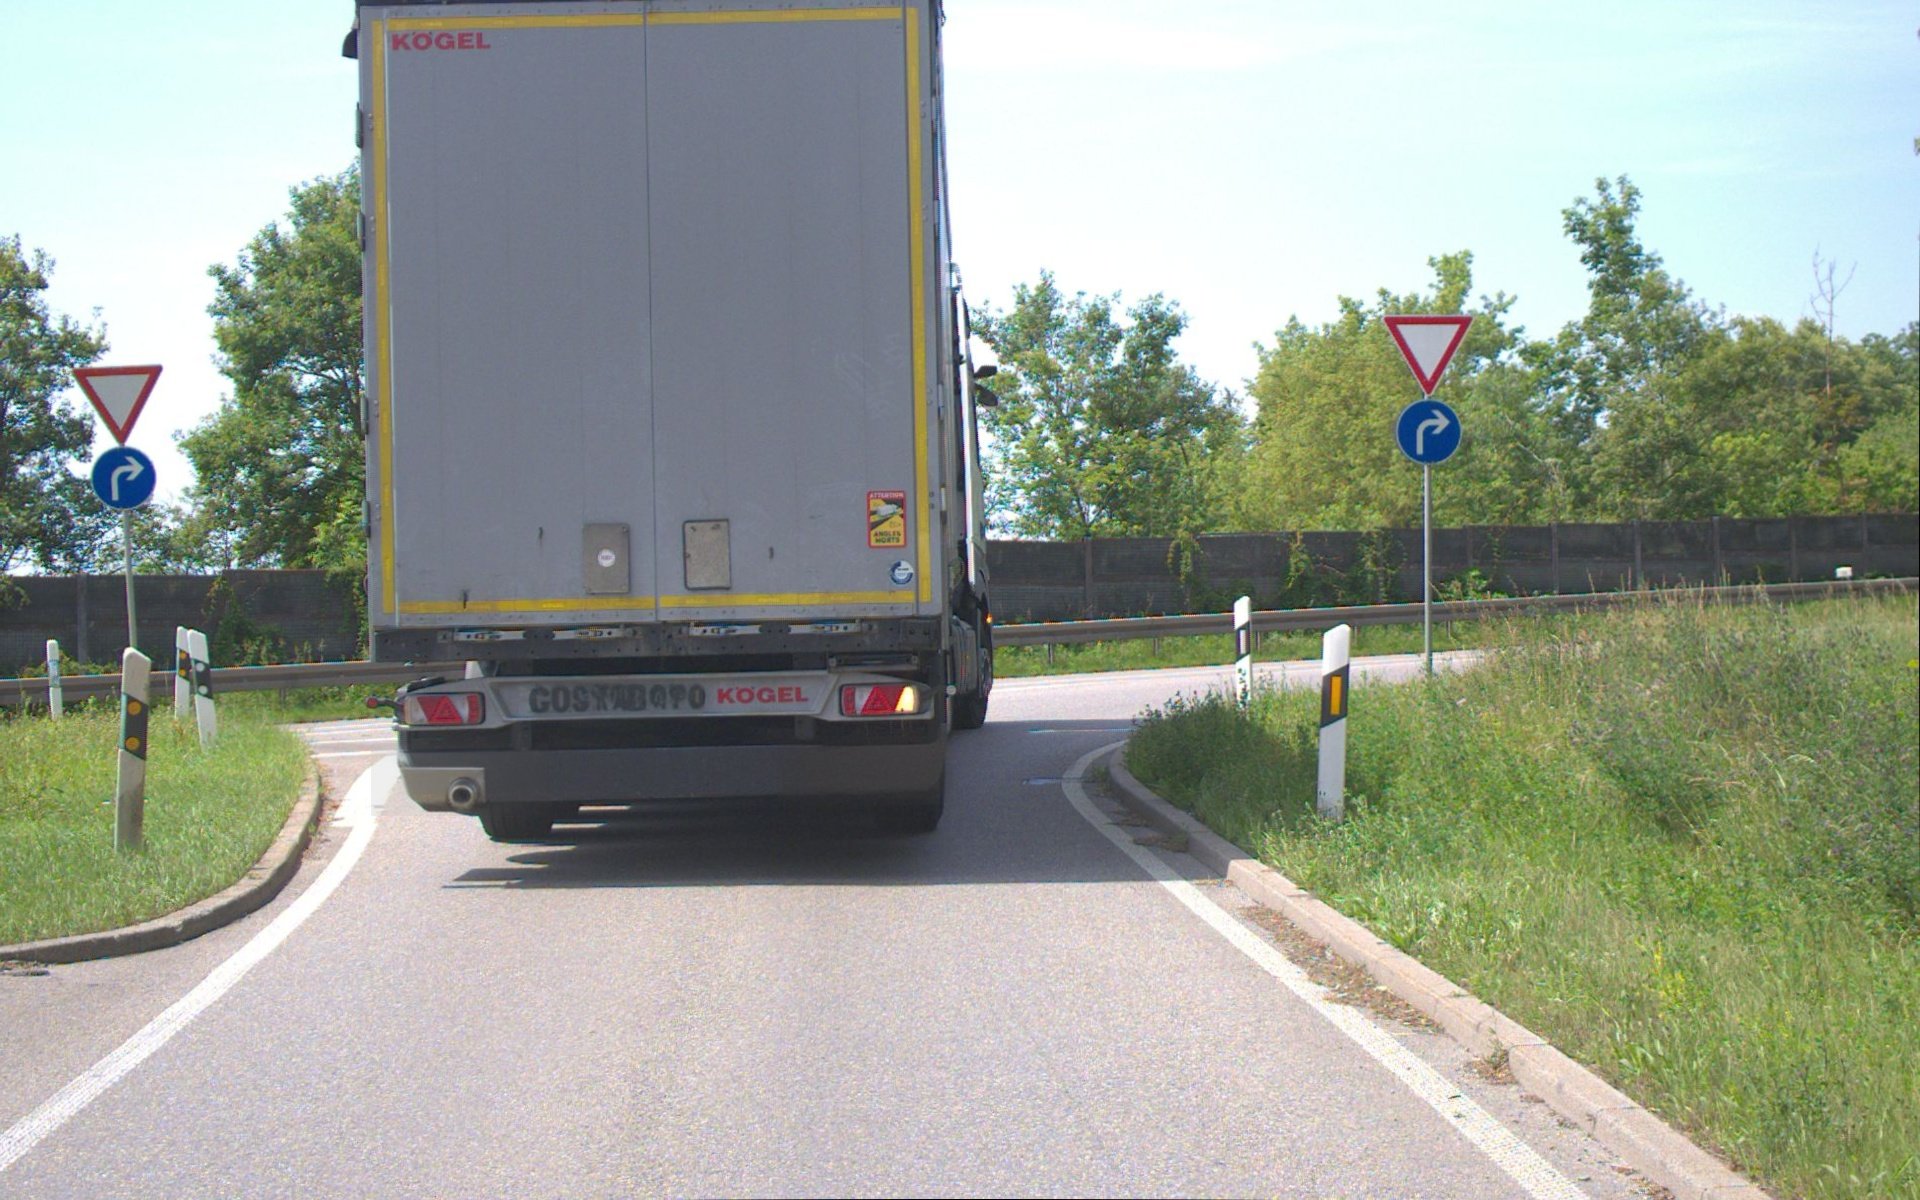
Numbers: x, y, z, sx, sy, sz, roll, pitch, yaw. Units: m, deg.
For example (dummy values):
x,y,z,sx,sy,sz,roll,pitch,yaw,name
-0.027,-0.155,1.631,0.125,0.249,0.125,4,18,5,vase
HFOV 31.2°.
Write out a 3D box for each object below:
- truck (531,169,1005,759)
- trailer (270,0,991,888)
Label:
x,y,z,sx,sy,sz,roll,pitch,yaw,name
-1.347,-0.973,28.428,3.153,4.210,7.121,-1,0,3,truck
-1.476,-0.846,21.462,3.027,4.021,13.352,-1,0,0,trailer
